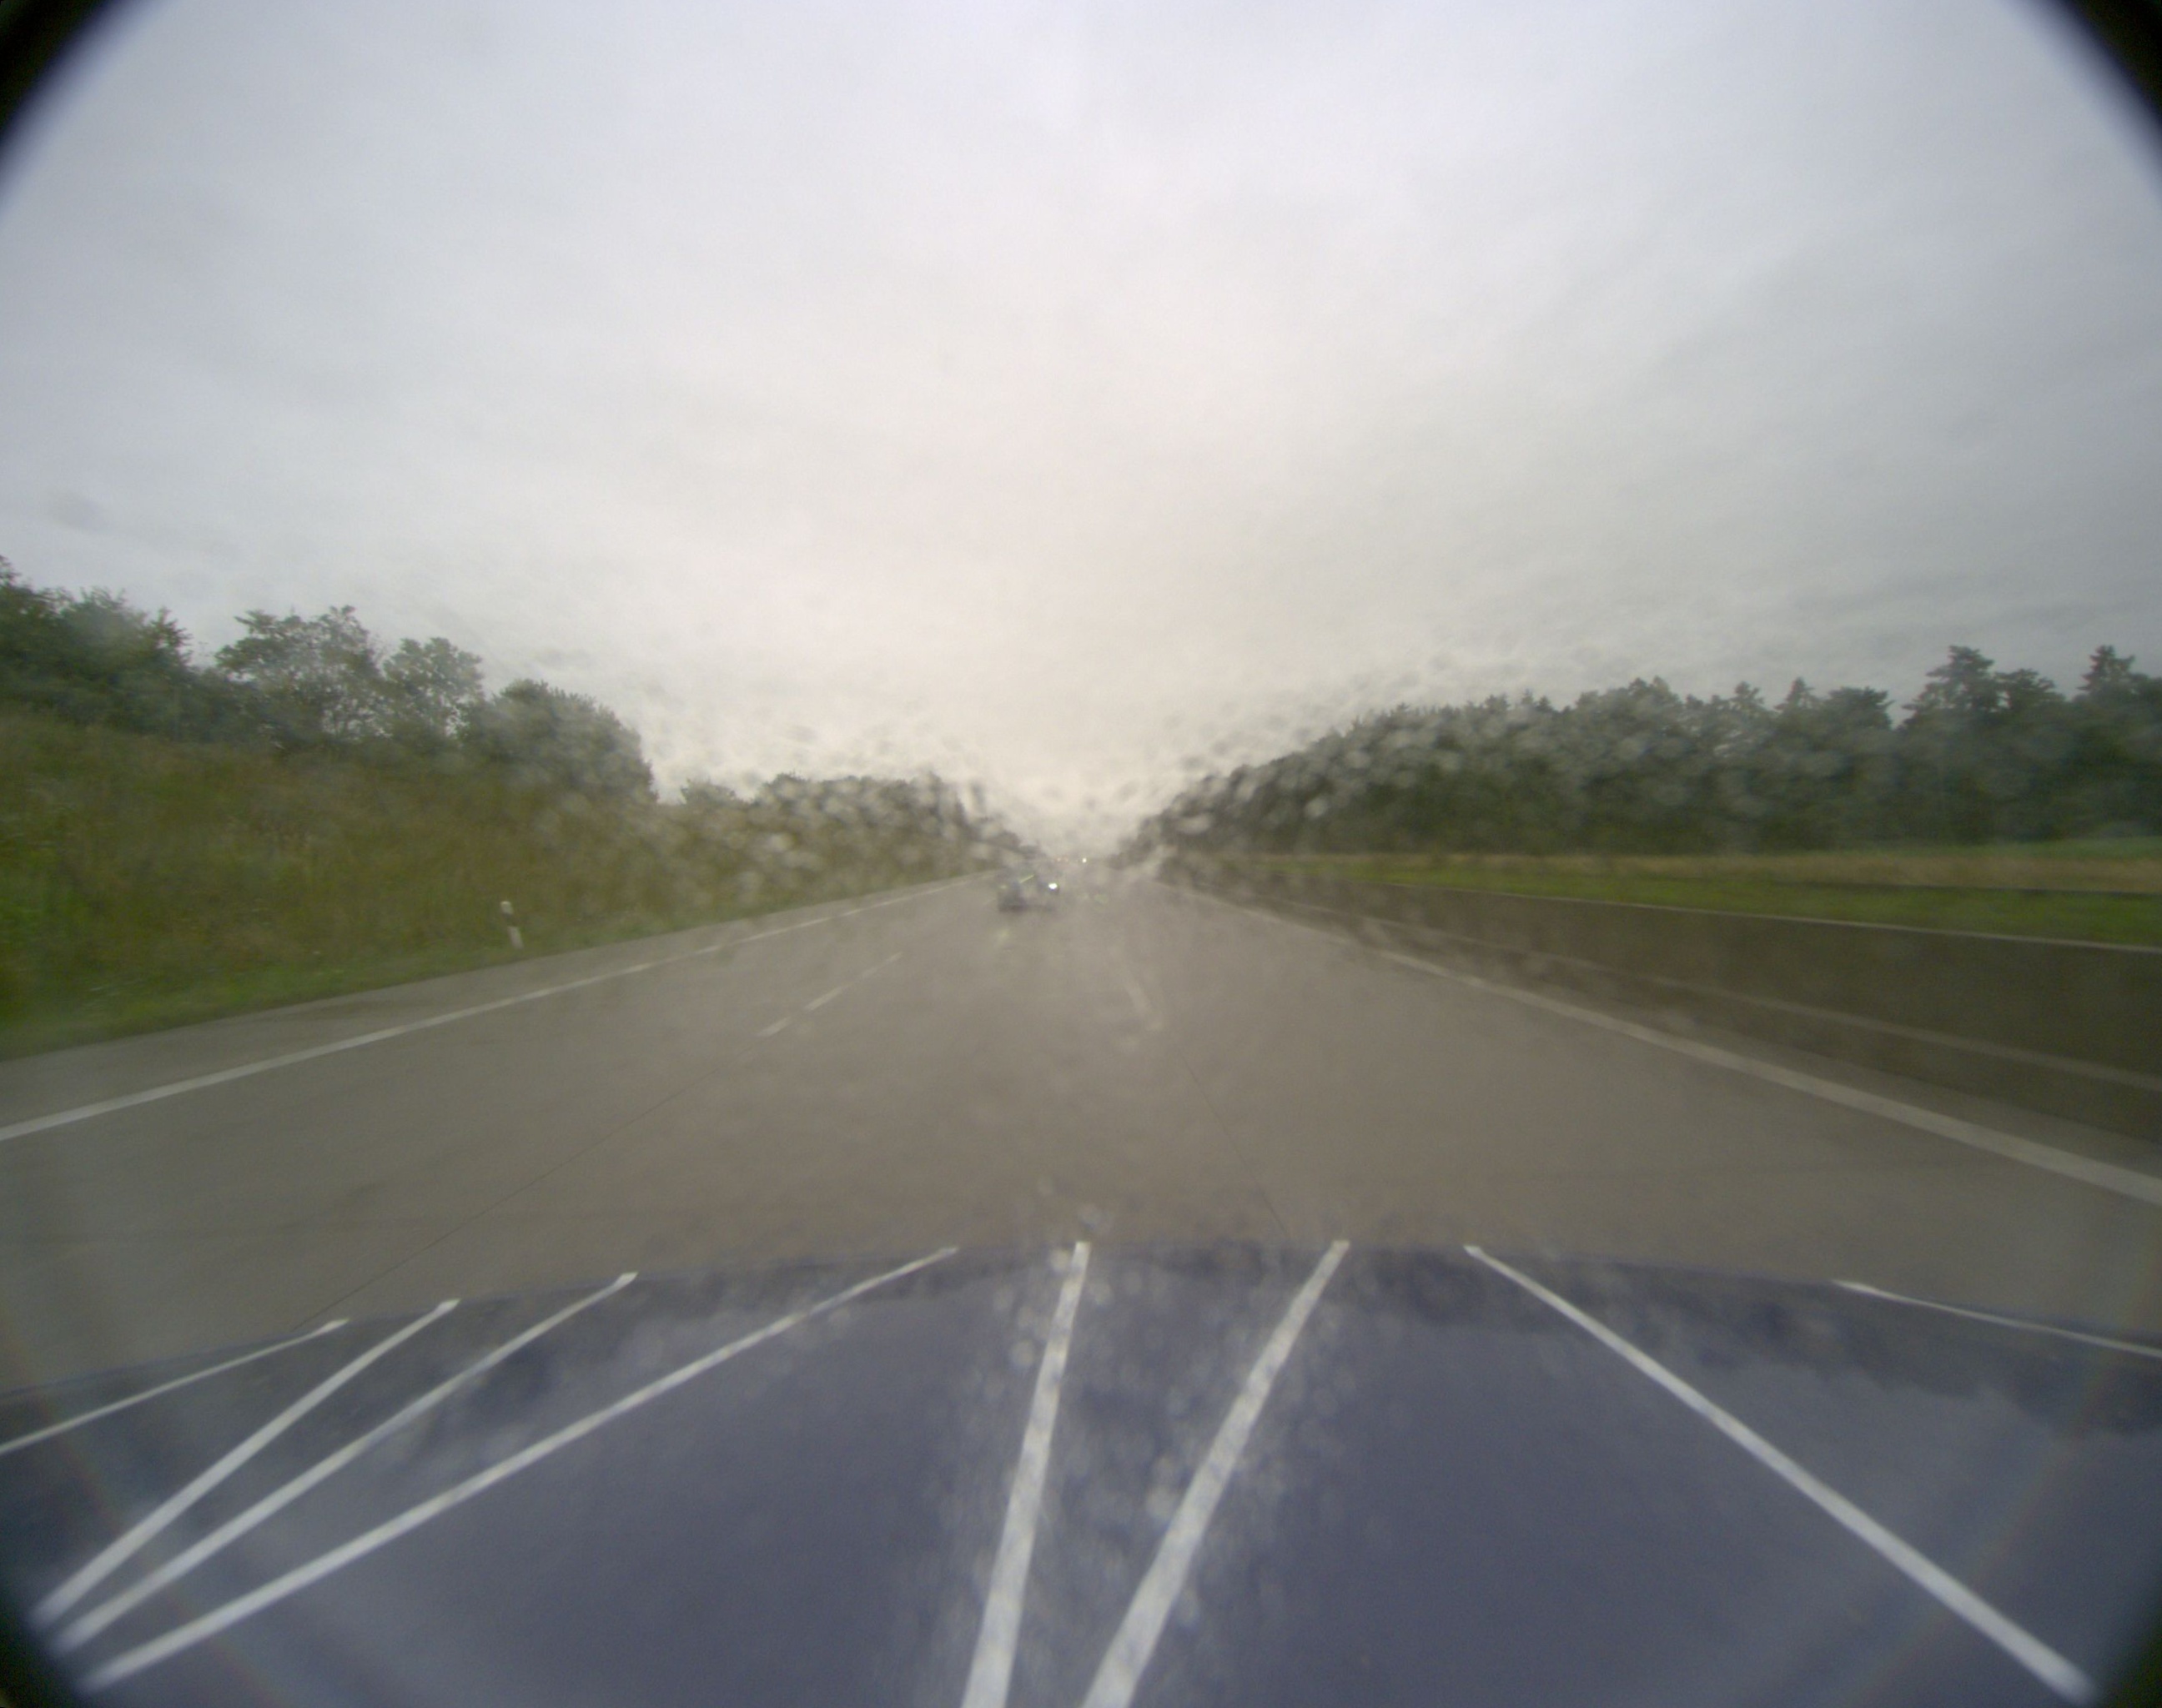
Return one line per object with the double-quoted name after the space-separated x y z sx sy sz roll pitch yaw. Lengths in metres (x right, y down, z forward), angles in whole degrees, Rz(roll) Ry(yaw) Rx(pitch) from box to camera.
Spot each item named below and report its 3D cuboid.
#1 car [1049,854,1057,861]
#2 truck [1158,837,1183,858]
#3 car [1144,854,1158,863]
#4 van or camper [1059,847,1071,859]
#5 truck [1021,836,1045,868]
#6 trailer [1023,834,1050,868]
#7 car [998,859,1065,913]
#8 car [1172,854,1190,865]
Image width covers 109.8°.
-8.129 1.043 224.815 1.998 1.575 5.954 -3 -1 1 "car"
16.844 -1.133 143.759 2.910 3.833 12.450 -1 -1 -1 "truck"
13.181 0.788 143.708 2.115 1.621 5.851 0 -1 -1 "car"
-3.637 -0.217 173.507 2.233 2.537 7.949 1 1 1 "van or camper"
-6.311 -0.202 100.777 2.643 3.930 5.686 -3 -1 1 "truck"
-6.228 -0.354 108.399 2.713 4.353 15.206 -3 -1 0 "trailer"
-1.439 0.905 23.538 1.734 1.450 4.672 -1 0 0 "car"
13.289 0.752 101.354 1.606 1.379 4.623 -1 0 -2 "car"
